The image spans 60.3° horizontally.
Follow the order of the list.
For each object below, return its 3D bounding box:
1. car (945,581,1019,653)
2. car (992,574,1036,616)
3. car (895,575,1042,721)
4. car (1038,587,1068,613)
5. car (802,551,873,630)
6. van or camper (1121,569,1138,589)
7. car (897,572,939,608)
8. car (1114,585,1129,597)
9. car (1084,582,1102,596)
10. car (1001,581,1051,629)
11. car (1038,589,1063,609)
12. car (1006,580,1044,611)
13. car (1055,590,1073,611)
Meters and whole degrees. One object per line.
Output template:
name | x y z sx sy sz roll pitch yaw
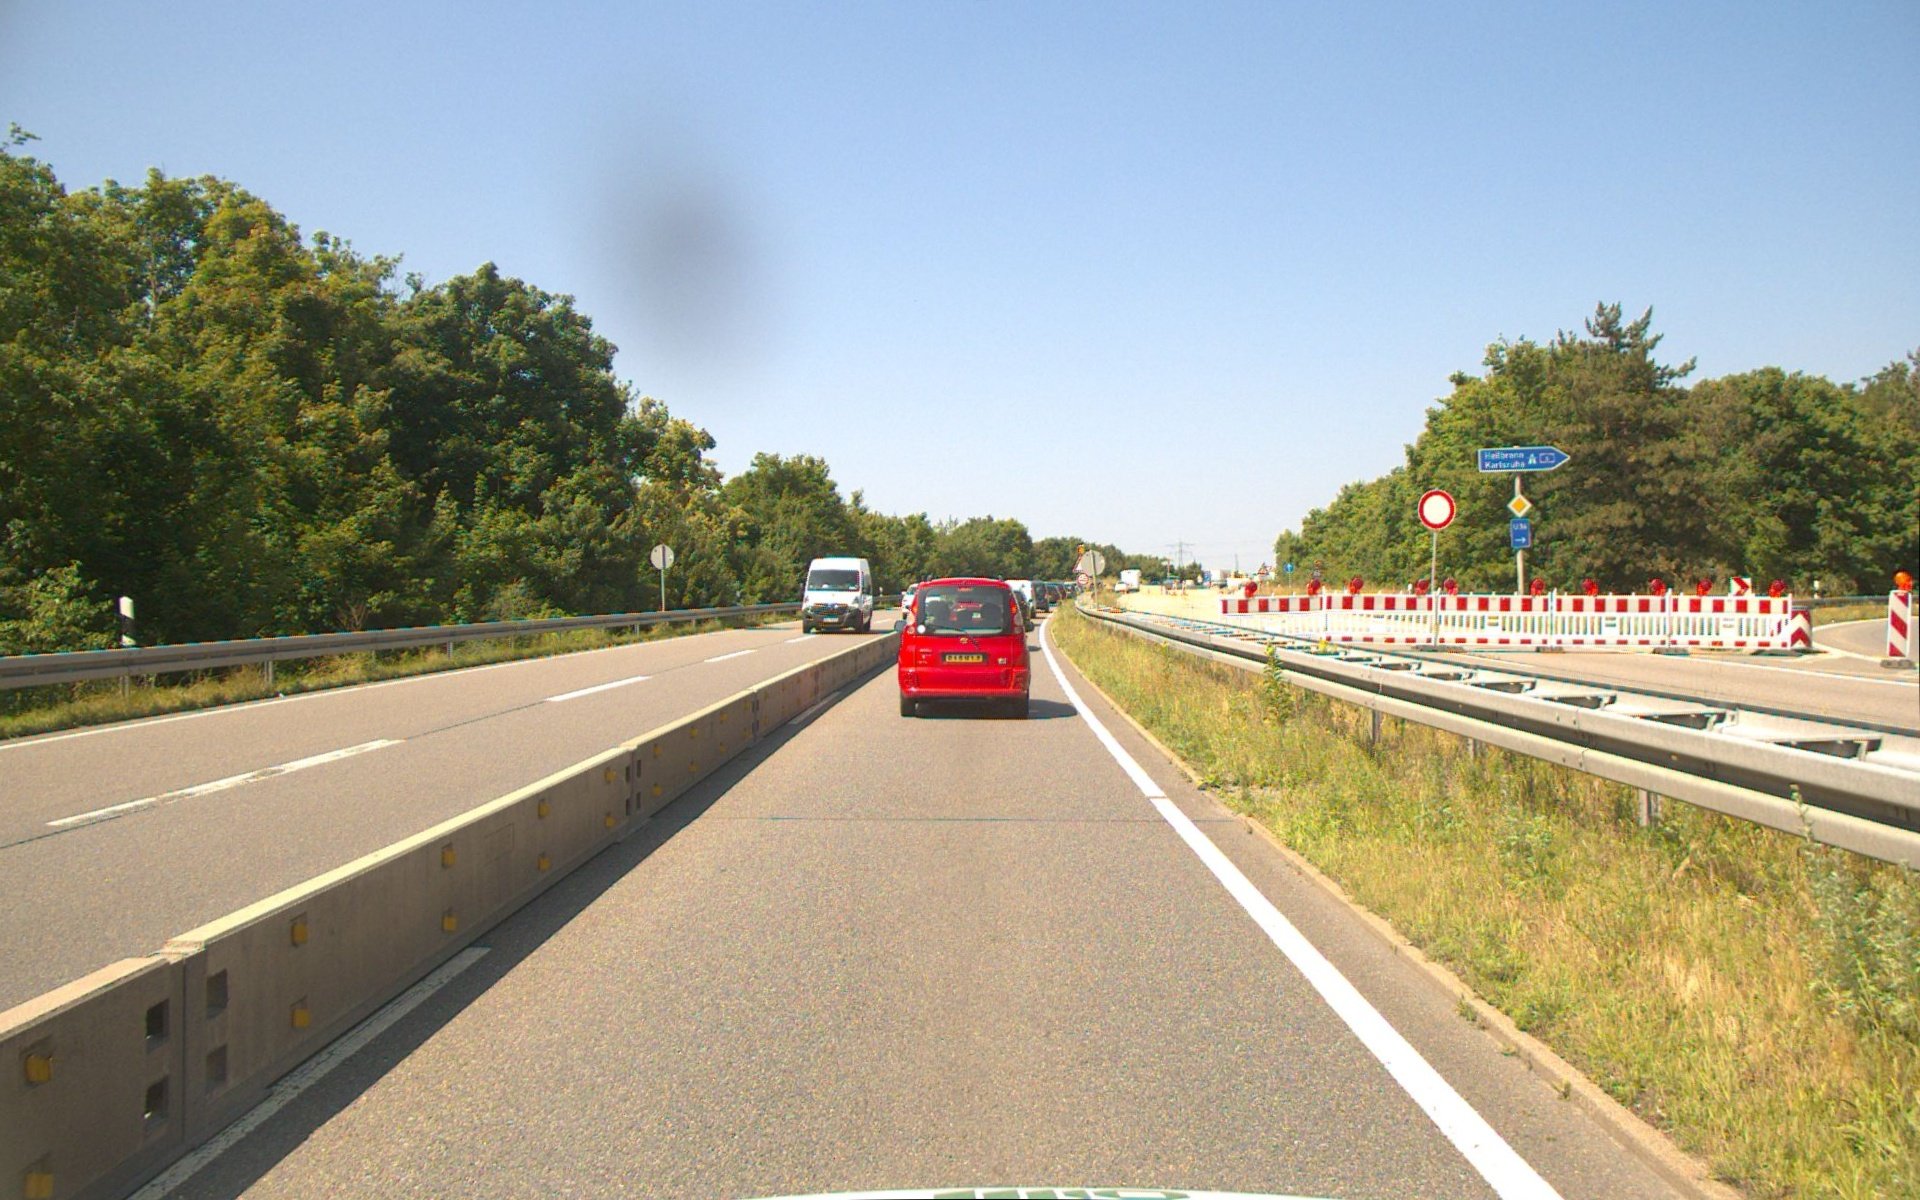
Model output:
car | 0.580 0.408 42.690 1.792 1.752 4.001 1 0 1
car | 2.647 -0.250 81.896 1.953 2.039 3.999 -1 0 -1
car | 0.147 0.564 21.579 1.715 1.702 4.001 1 0 1
car | 6.650 -0.040 118.606 1.952 1.814 4.000 -1 0 1
car | -4.120 -0.324 56.360 2.019 2.529 5.560 0 0 0
van or camper | 24.047 -2.938 234.648 2.279 2.754 4.595 -1 0 4
car | -1.947 -0.482 77.747 1.810 1.629 4.322 0 0 0
car | 21.670 -1.209 222.271 1.951 1.512 4.002 -1 0 5
car | 15.241 -1.245 189.105 1.951 1.579 4.003 -1 0 6
car | 2.727 0.202 67.551 1.952 1.870 4.002 -1 0 4
car | 7.449 -0.098 135.450 1.951 1.612 4.002 -1 0 4
car | 3.787 -0.261 96.669 1.953 1.780 3.999 -1 0 -1
car | 9.290 0.034 147.328 1.470 1.767 3.172 -1 0 6
